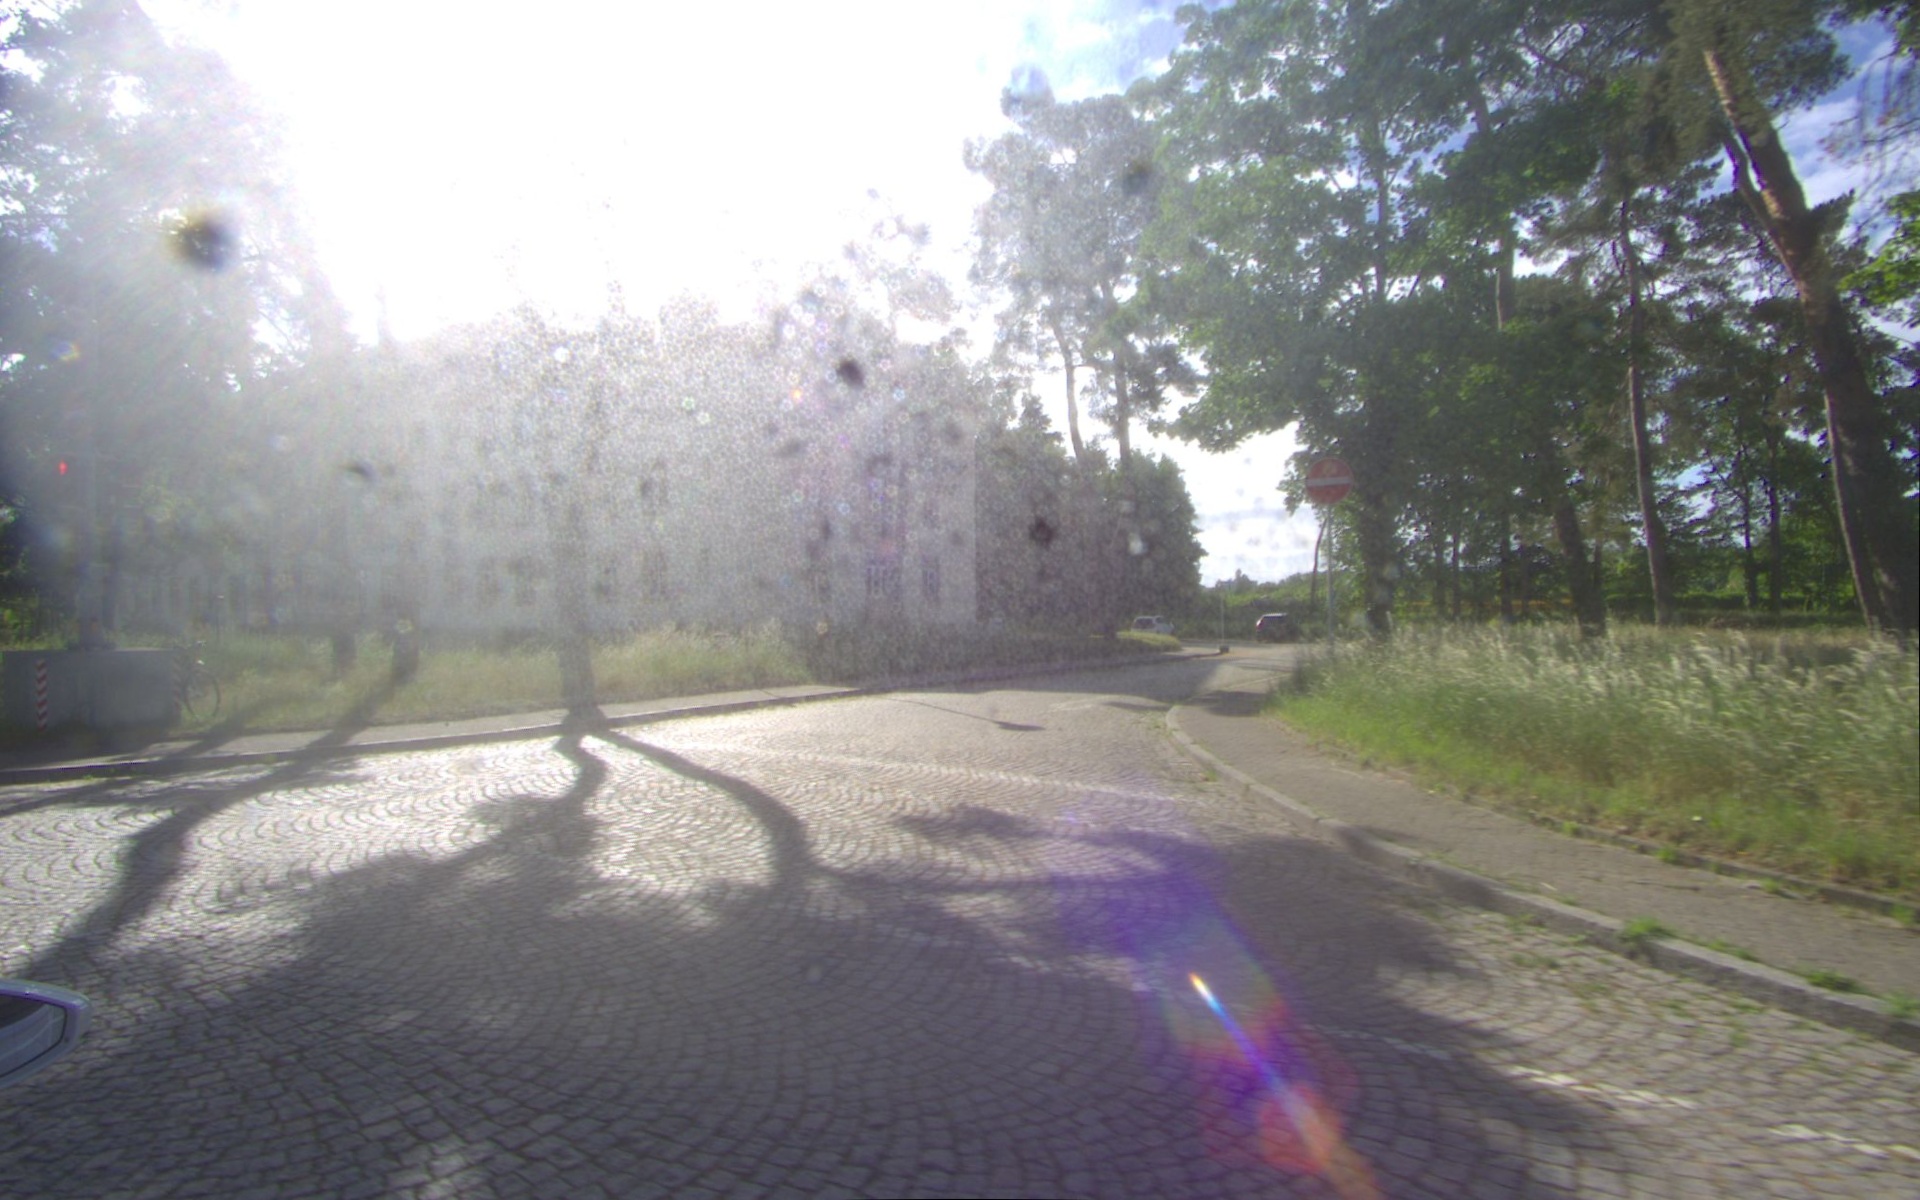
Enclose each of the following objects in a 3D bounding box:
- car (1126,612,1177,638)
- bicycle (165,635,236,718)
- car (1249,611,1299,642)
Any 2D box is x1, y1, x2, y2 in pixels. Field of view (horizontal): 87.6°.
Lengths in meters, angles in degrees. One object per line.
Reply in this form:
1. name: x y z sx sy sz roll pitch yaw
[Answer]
1. car: 11.371 1.457 59.156 1.819 1.483 3.983 0 -1 29
2. bicycle: -10.439 1.027 13.758 1.158 1.094 0.464 -1 0 36
3. car: 17.125 1.394 54.463 1.828 1.619 3.983 0 -1 29
